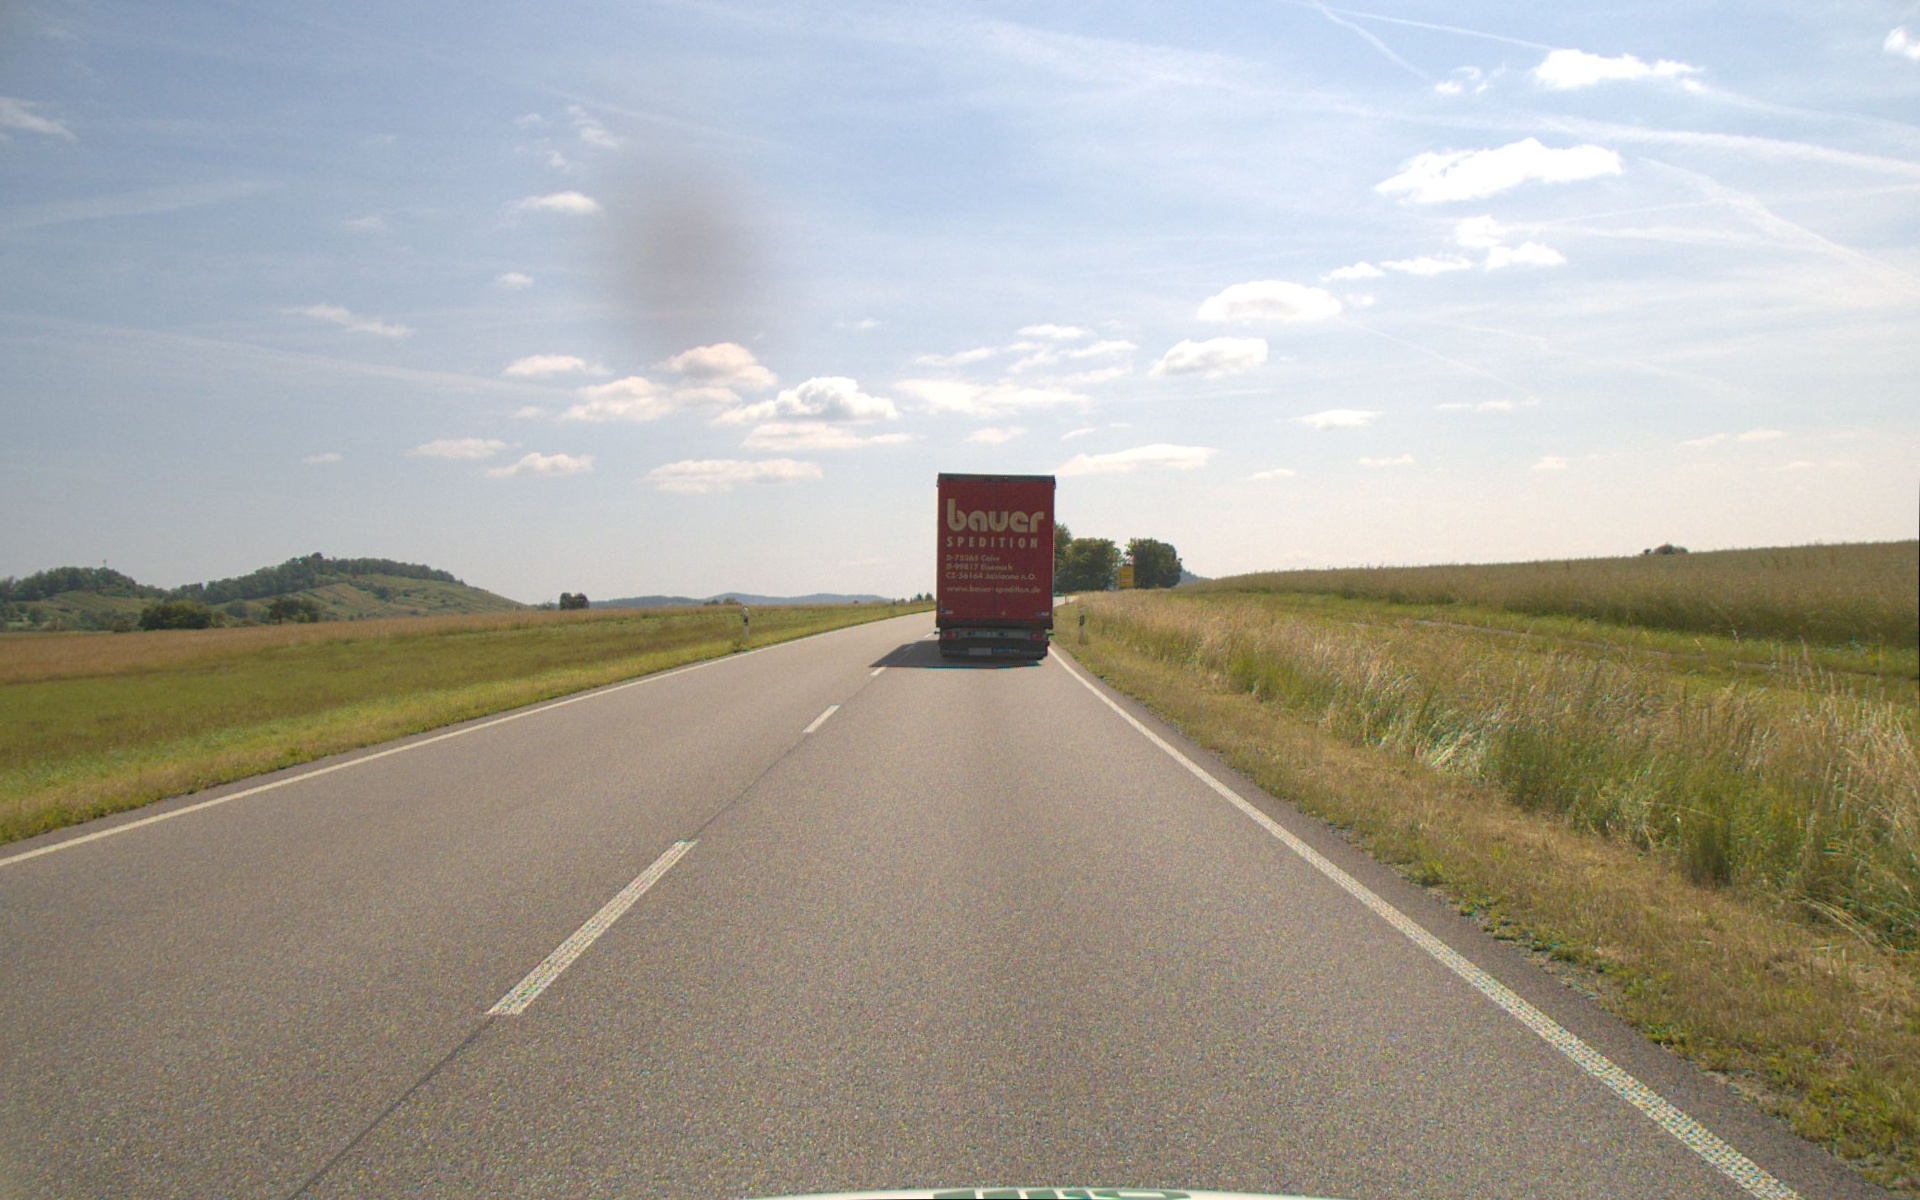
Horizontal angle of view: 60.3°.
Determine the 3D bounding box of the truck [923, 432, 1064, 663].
[{"bbox_3d":[0.868,-1.137,39.289,2.913,4.795,9.368,1,0,2],"label":"truck"}]
